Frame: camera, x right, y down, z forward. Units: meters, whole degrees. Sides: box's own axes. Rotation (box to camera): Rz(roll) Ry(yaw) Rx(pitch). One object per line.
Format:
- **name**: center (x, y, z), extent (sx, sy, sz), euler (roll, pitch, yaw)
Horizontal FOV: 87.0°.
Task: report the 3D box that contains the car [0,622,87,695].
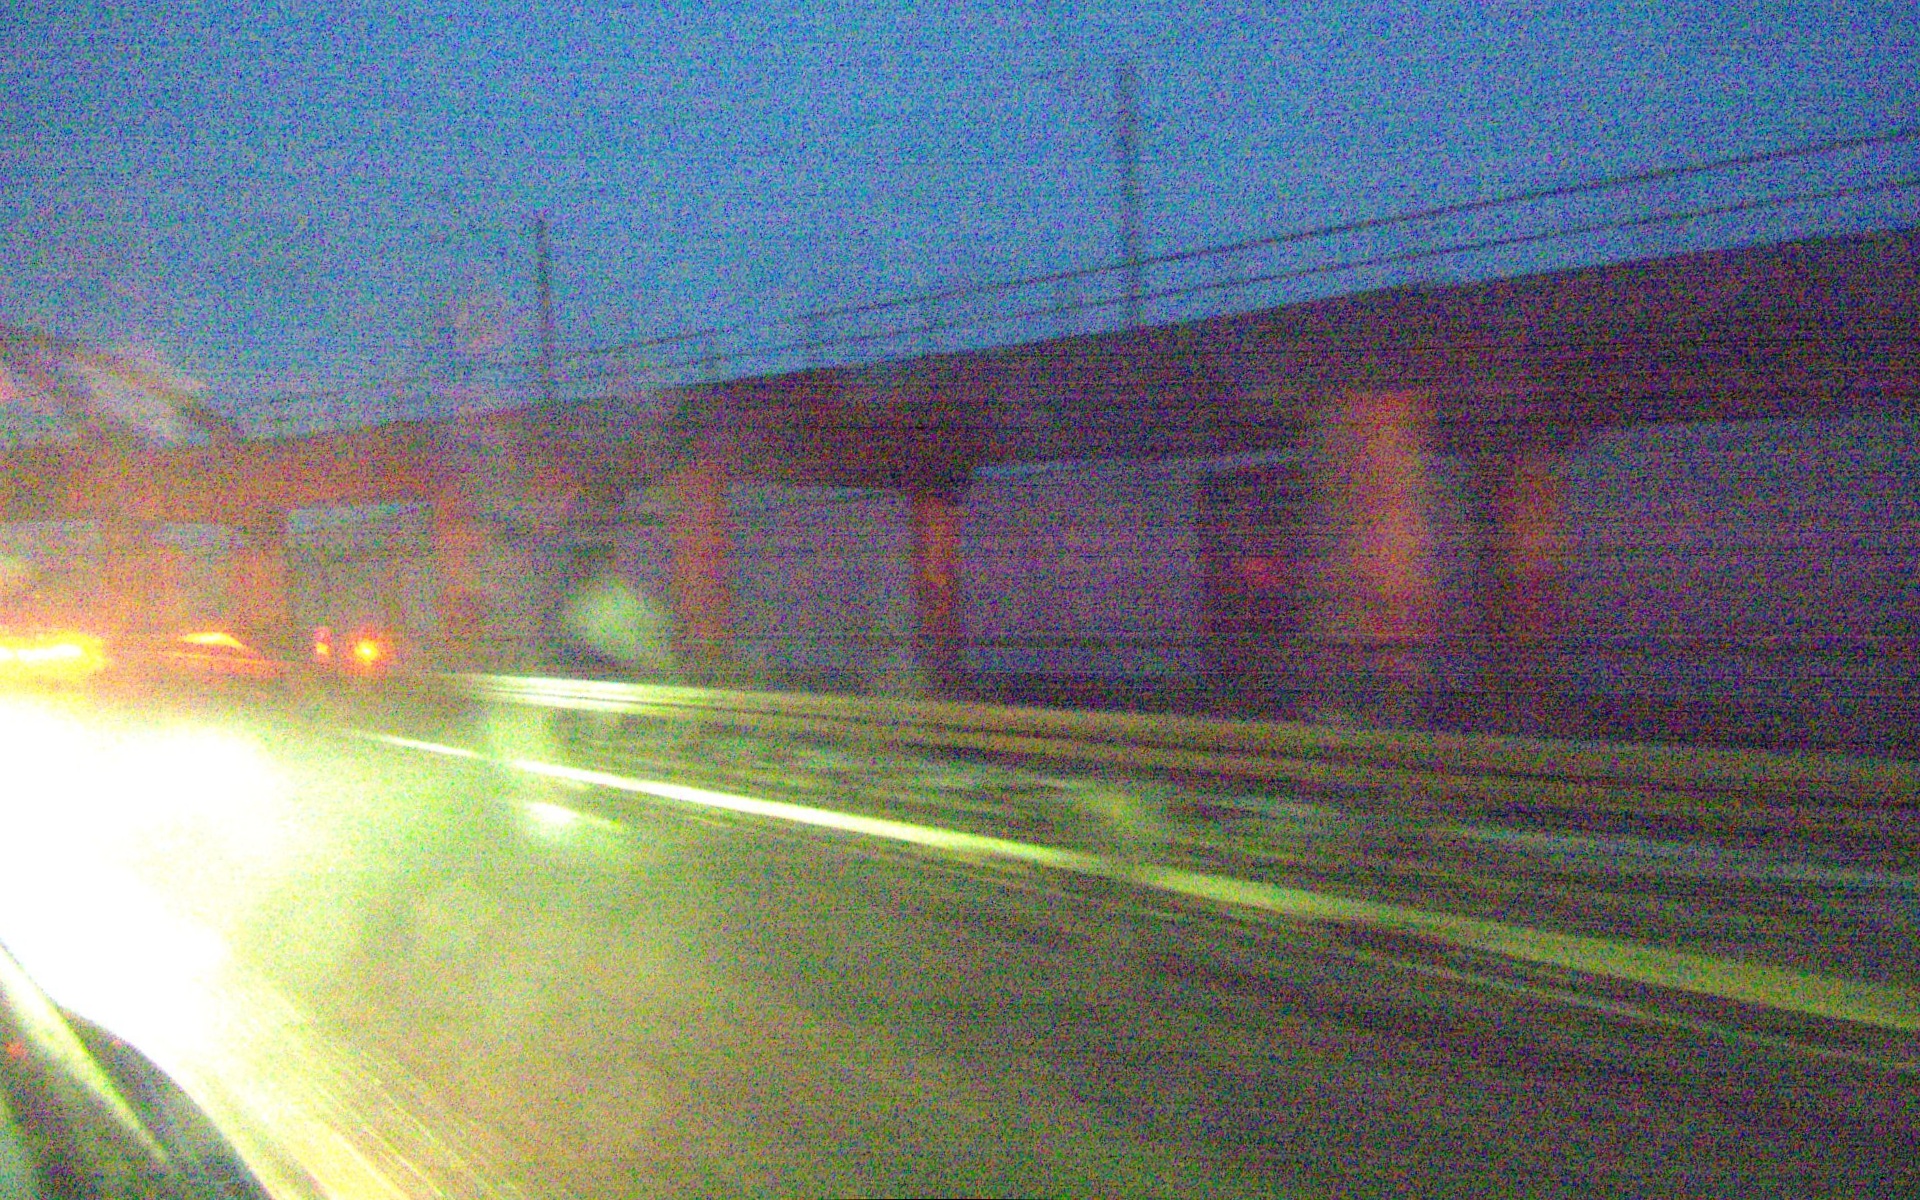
- **car**: center (-22.222, 1.391, 23.880), extent (4.226, 1.556, 1.843), euler (-3, -2, 40)
